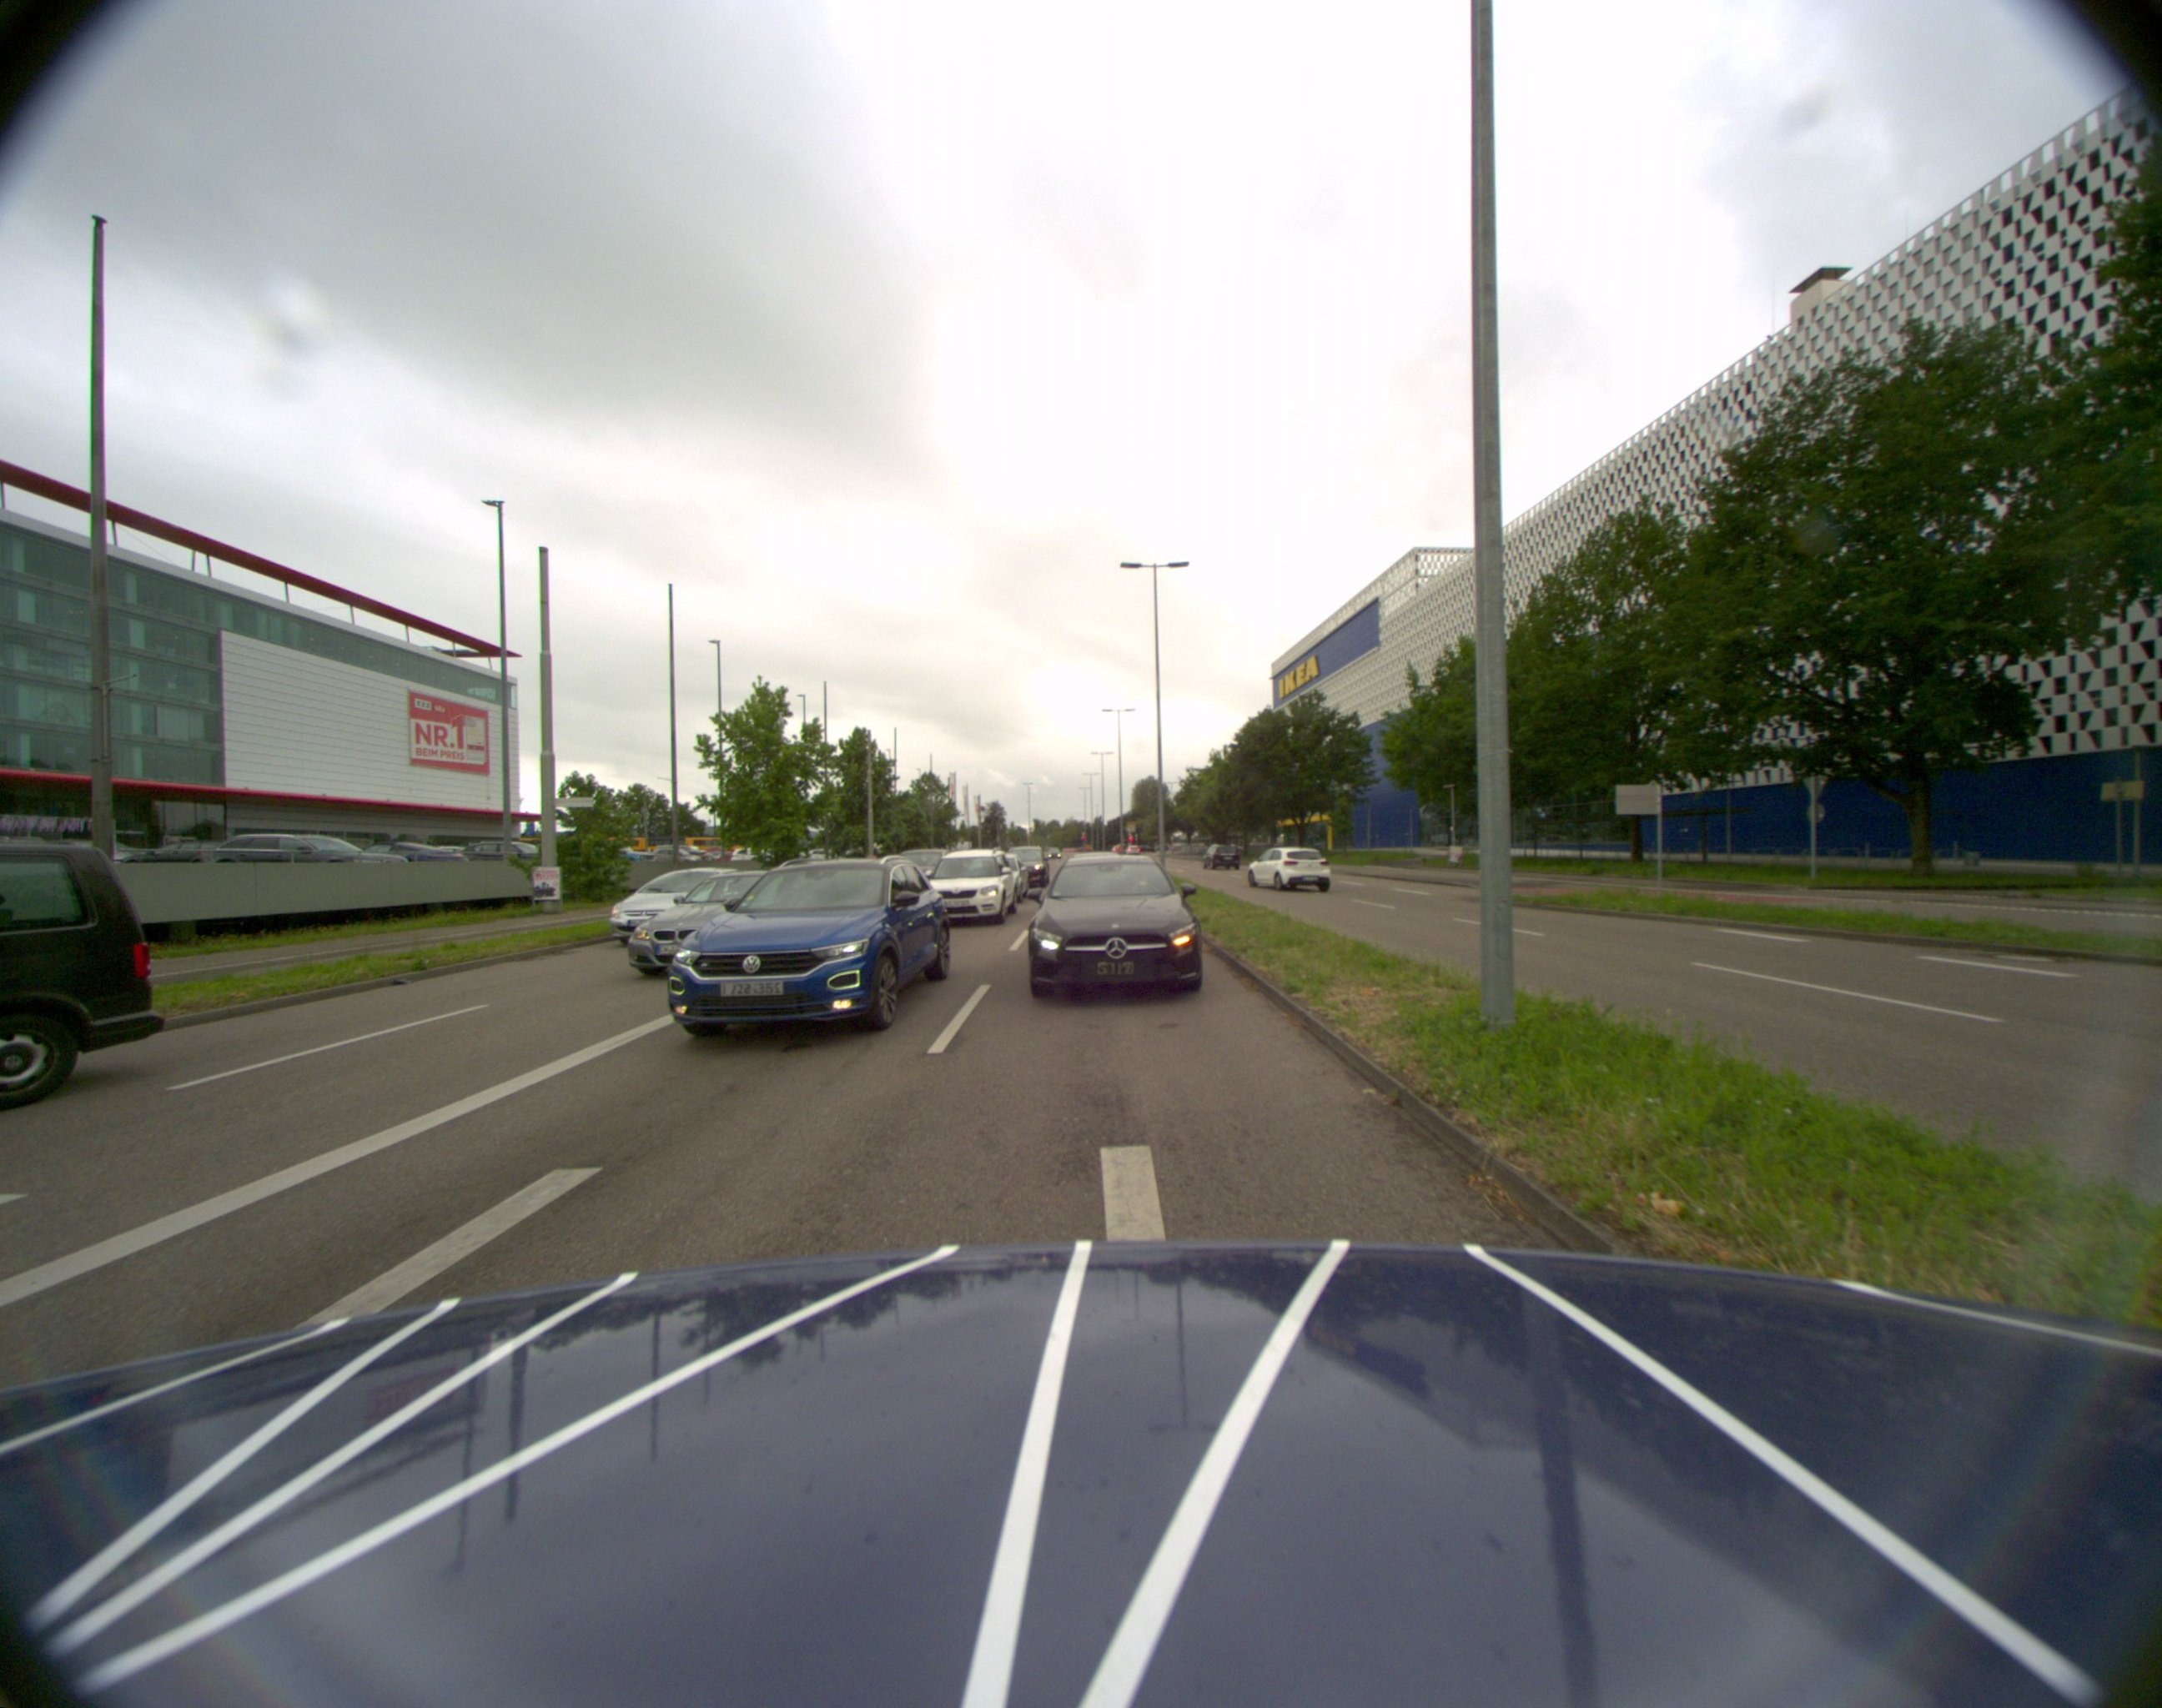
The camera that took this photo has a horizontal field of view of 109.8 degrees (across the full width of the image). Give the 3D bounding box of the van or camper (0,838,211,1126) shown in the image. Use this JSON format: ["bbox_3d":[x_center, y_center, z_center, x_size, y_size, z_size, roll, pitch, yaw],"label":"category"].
[{"bbox_3d":[-8.802,0.984,4.095,2.161,2.002,4.944,-3,1,7],"label":"van or camper"}]

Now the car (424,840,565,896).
[{"bbox_3d":[-23.604,0.524,30.719,3.998,2.002,1.999,-3,2,-2],"label":"car"}]

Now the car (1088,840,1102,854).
[{"bbox_3d":[2.314,-1.202,125.180,1.999,2.207,3.999,-1,0,-3],"label":"car"}]

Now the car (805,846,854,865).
[{"bbox_3d":[-23.969,0.139,72.401,3.997,1.556,1.796,-3,2,0],"label":"car"}]

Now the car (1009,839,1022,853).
[{"bbox_3d":[-10.976,-1.337,127.653,1.999,2.229,3.999,-1,0,-3],"label":"car"}]

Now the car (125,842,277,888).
[{"bbox_3d":[-37.970,0.441,32.873,3.998,1.729,1.999,-3,2,-3],"label":"car"}]

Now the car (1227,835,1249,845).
[{"bbox_3d":[29.561,-2.622,143.237,3.565,1.631,1.742,-3,2,-3],"label":"car"}]

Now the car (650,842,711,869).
[{"bbox_3d":[-34.136,0.111,64.787,3.998,2.002,1.999,-3,2,-2],"label":"car"}]

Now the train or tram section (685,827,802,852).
[{"bbox_3d":[-73.201,-3.197,165.345,23.275,4.811,3.631,-2,2,-3],"label":"train or tram section"}]

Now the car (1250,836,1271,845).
[{"bbox_3d":[39.224,-2.979,166.063,3.999,1.805,1.998,-3,2,-8],"label":"car"}]

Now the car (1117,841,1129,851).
[{"bbox_3d":[7.486,-1.433,135.583,1.847,1.709,3.923,-3,1,-2],"label":"car"}]

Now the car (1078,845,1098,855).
[{"bbox_3d":[1.622,-0.998,186.658,4.709,2.002,1.998,-3,2,-6],"label":"car"}]

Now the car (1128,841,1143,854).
[{"bbox_3d":[8.143,-0.953,113.868,1.847,1.876,3.923,-3,1,-2],"label":"car"}]

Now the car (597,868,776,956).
[{"bbox_3d":[-7.997,1.091,15.847,1.694,1.364,3.925,-3,1,-2],"label":"car"}]

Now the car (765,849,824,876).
[{"bbox_3d":[-23.528,0.677,62.566,3.997,2.002,1.999,-3,2,0],"label":"car"}]

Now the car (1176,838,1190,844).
[{"bbox_3d":[32.917,-4.231,245.087,4.291,1.813,1.742,-3,2,-3],"label":"car"}]

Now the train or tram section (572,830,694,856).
[{"bbox_3d":[-96.485,-2.477,164.017,23.275,4.811,3.631,-2,2,-3],"label":"train or tram section"}]

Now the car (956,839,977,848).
[{"bbox_3d":[-26.822,-2.492,178.619,4.711,2.002,1.998,-3,2,-11],"label":"car"}]

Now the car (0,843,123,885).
[{"bbox_3d":[-47.959,0.452,35.347,3.998,1.729,1.999,-3,2,-3],"label":"car"}]

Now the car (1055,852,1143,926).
[{"bbox_3d":[0.390,0.732,18.024,1.767,1.370,4.258,-3,1,0],"label":"car"}]

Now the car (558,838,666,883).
[{"bbox_3d":[-23.276,0.286,37.829,3.998,2.002,1.999,-3,2,-2],"label":"car"}]

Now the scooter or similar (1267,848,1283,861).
[{"bbox_3d":[16.918,0.021,66.312,0.590,1.119,1.423,-5,2,-16],"label":"scooter or similar"}]

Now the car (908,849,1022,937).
[{"bbox_3d":[-2.508,0.770,17.513,1.798,1.616,4.373,-3,1,1],"label":"car"}]

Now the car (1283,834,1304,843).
[{"bbox_3d":[46.628,-3.359,166.864,3.999,1.805,1.998,-3,2,-8],"label":"car"}]

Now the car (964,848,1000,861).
[{"bbox_3d":[-12.382,0.078,94.839,4.216,1.408,1.802,-3,2,-1],"label":"car"}]

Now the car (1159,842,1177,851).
[{"bbox_3d":[20.495,-1.801,178.790,3.998,2.002,1.999,-3,2,-2],"label":"car"}]

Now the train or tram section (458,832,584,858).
[{"bbox_3d":[-119.611,-1.879,162.688,23.275,4.811,3.631,-2,2,-3],"label":"train or tram section"}]

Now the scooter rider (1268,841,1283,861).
[{"bbox_3d":[16.948,-0.235,66.282,0.797,1.710,1.037,-3,2,-17],"label":"scooter rider"}]

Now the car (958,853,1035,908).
[{"bbox_3d":[-2.527,0.752,23.670,1.801,1.408,4.218,-3,1,0],"label":"car"}]

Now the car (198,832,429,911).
[{"bbox_3d":[-22.519,0.461,22.450,4.530,2.002,1.999,-3,2,-3],"label":"car"}]

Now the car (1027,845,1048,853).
[{"bbox_3d":[-10.479,-1.238,181.322,4.712,1.739,1.997,-3,2,-13],"label":"car"}]

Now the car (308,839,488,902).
[{"bbox_3d":[-22.725,0.515,25.434,3.998,1.838,1.999,-3,2,-3],"label":"car"}]

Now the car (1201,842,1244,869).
[{"bbox_3d":[9.341,0.066,50.562,1.847,1.646,4.359,1,1,-2],"label":"car"}]

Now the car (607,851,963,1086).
[{"bbox_3d":[-2.568,0.865,7.908,1.846,1.613,4.331,-3,1,1],"label":"car"}]

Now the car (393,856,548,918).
[{"bbox_3d":[-22.739,1.186,28.433,3.998,2.002,1.999,-3,2,-2],"label":"car"}]

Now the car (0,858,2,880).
[{"bbox_3d":[-32.702,0.129,20.570,3.992,1.429,1.869,-3,2,-3],"label":"car"}]

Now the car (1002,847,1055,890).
[{"bbox_3d":[-2.101,0.543,31.683,1.801,1.565,4.218,-3,1,0],"label":"car"}]

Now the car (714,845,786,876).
[{"bbox_3d":[-24.291,0.462,55.871,4.324,2.002,1.999,-3,2,-2],"label":"car"}]

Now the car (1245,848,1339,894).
[{"bbox_3d":[7.208,0.521,26.398,1.787,1.444,3.930,0,1,-7],"label":"car"}]

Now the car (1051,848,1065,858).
[{"bbox_3d":[-3.445,-0.166,114.153,1.801,1.408,4.218,-3,1,0],"label":"car"}]

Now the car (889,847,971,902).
[{"bbox_3d":[-5.143,0.626,26.464,1.798,1.616,4.373,-3,1,1],"label":"car"}]

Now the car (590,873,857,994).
[{"bbox_3d":[-5.323,1.081,12.209,1.816,1.402,4.878,-3,0,1],"label":"car"}]

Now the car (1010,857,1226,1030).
[{"bbox_3d":[0.349,0.811,8.874,1.859,1.426,4.196,-3,0,0],"label":"car"}]
